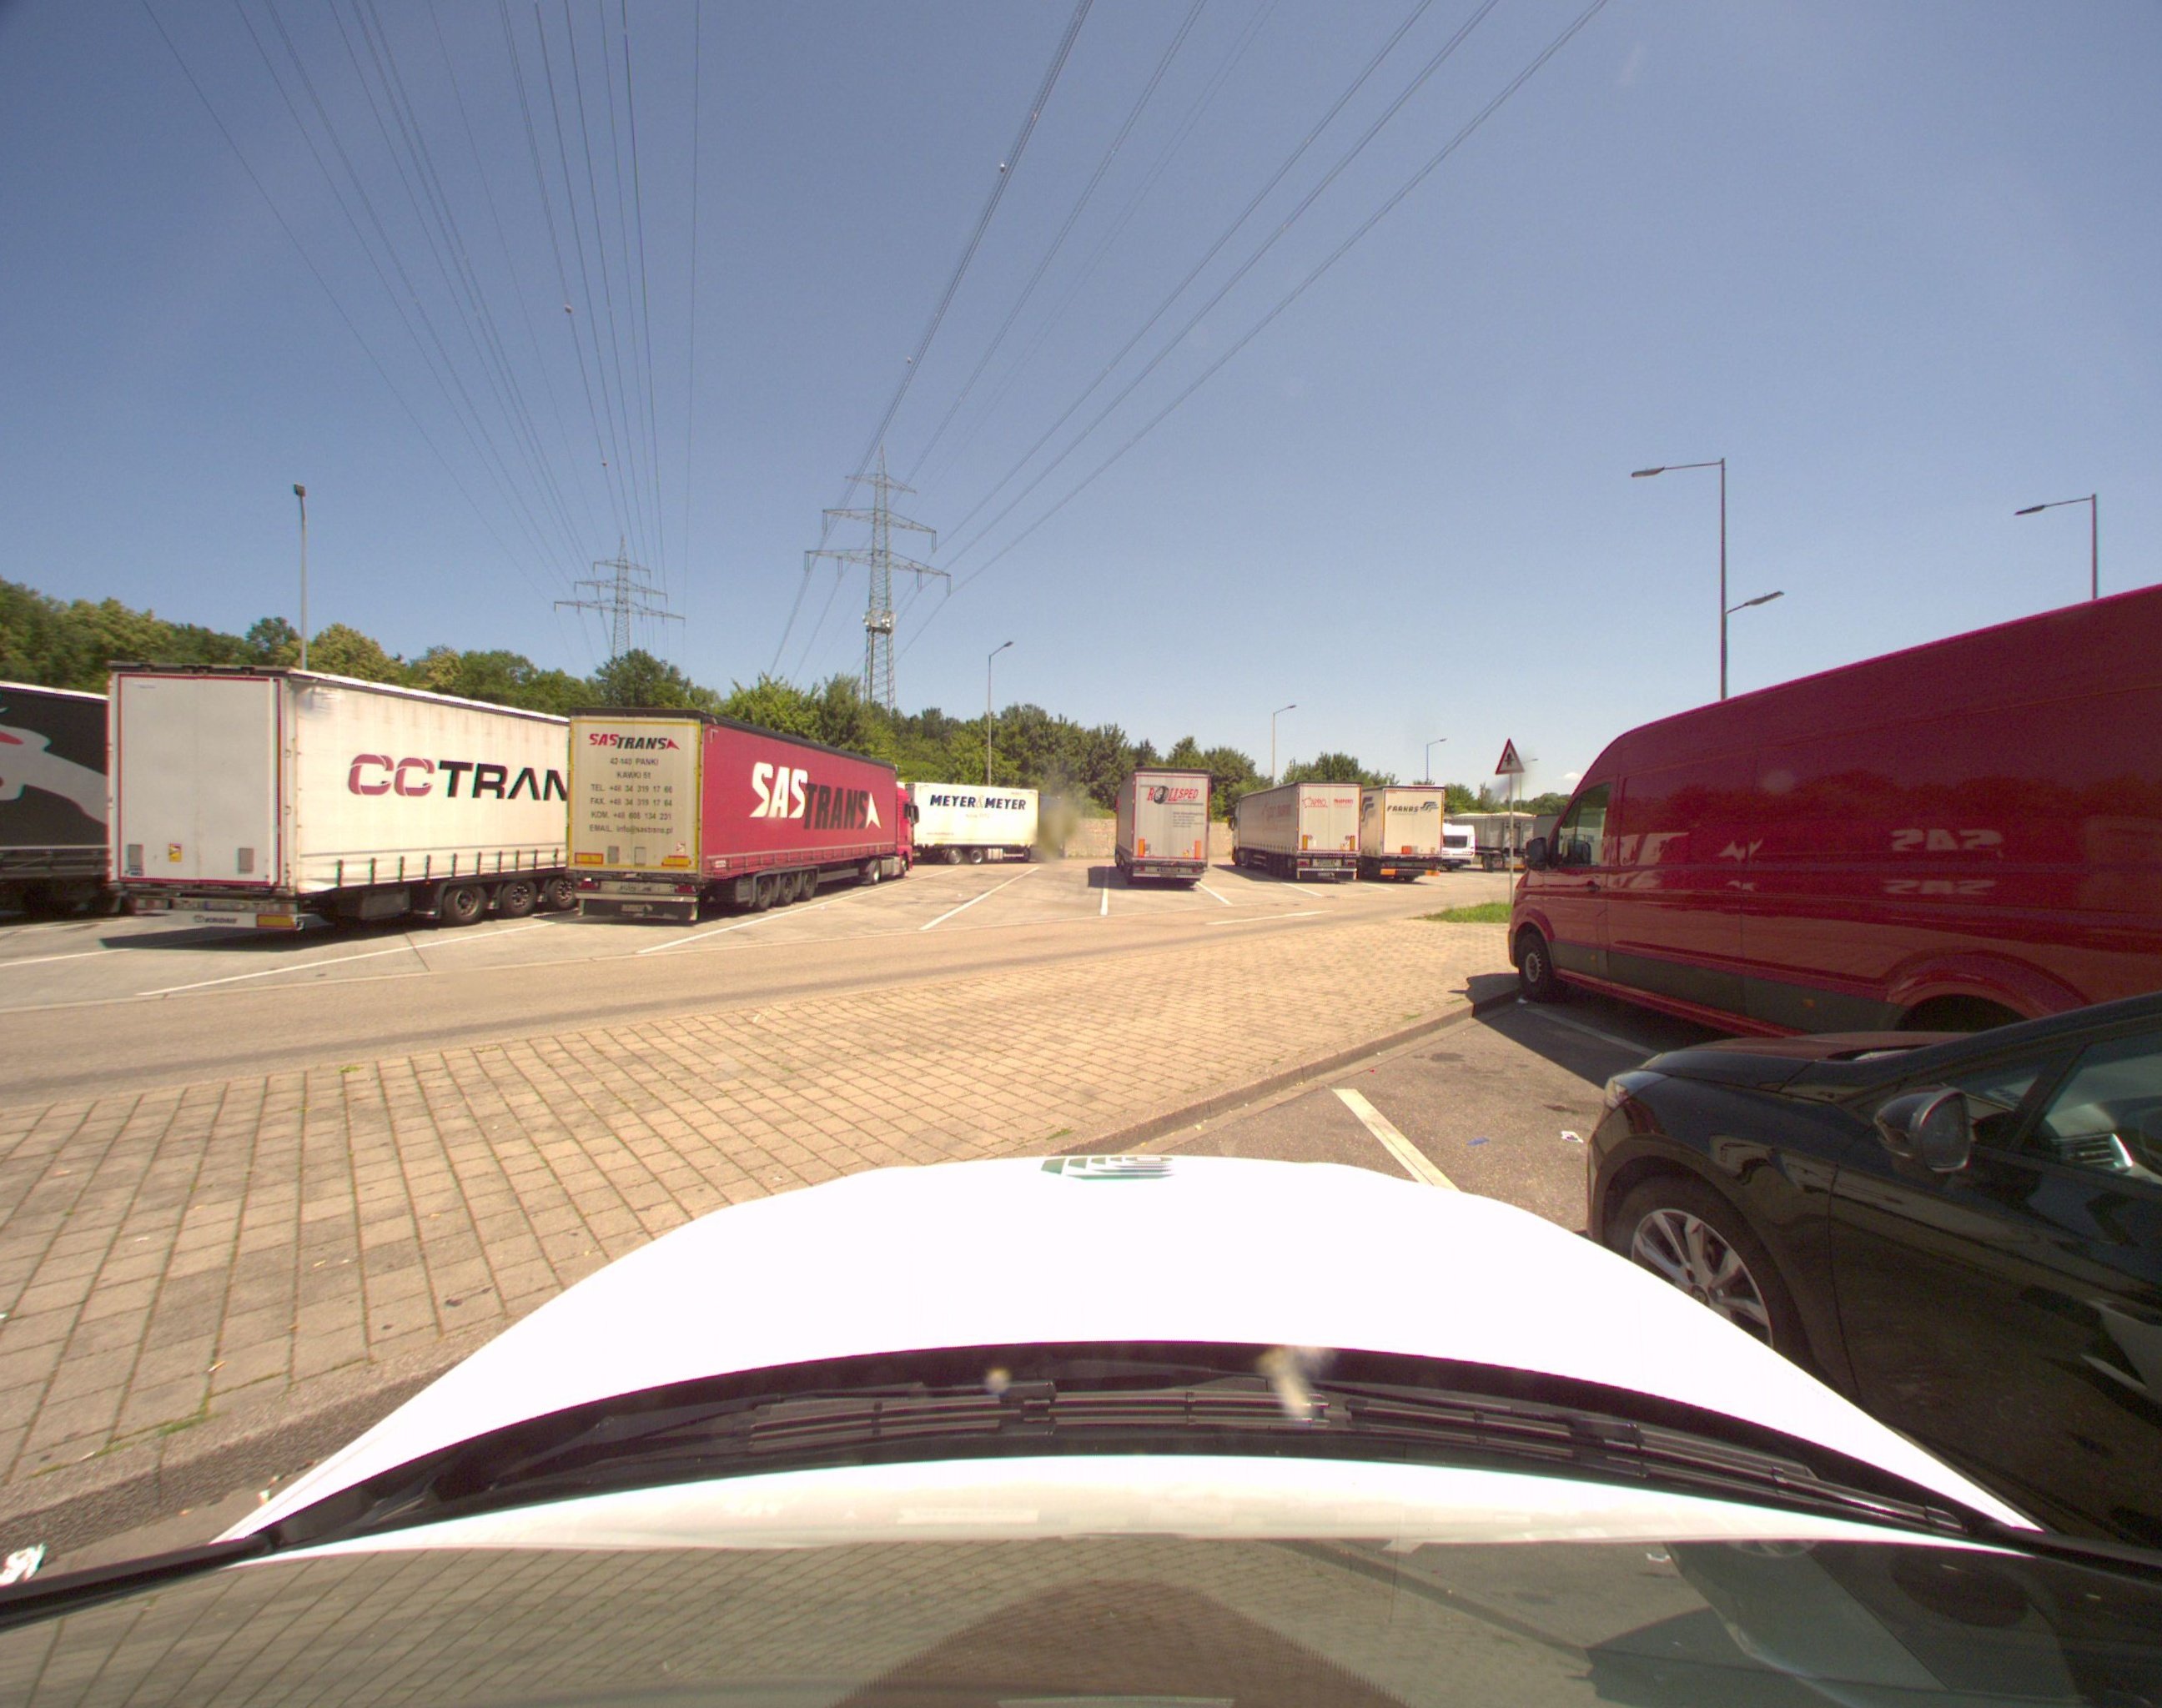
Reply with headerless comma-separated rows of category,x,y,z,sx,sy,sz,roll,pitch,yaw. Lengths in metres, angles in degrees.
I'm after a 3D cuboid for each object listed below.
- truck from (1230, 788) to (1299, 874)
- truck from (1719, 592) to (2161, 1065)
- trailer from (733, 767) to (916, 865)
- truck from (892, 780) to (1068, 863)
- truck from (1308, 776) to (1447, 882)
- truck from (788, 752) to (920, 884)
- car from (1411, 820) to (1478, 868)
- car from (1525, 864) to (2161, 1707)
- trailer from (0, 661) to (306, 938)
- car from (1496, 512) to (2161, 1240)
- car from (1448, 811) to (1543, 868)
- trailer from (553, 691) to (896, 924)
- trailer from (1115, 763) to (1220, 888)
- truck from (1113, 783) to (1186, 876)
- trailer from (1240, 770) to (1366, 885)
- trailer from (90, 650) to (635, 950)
truck,10.070,-1.236,45.180,2.651,4.452,5.866,-1,1,2
truck,7.786,-0.149,6.037,2.508,2.827,4.821,0,-1,3
trailer,-11.587,-1.572,37.489,7.932,4.067,2.236,0,-1,-45
truck,-5.156,-1.573,43.825,10.112,4.033,2.214,0,0,-45
truck,13.525,-0.943,38.559,2.577,4.226,11.974,0,-1,2
truck,-7.758,-1.174,28.720,2.795,4.133,5.896,-1,1,2
car,20.531,-0.523,46.138,2.107,2.599,4.001,0,-1,2
car,2.555,0.754,1.071,1.773,1.457,3.681,0,-1,-4
trailer,-18.562,-0.889,14.910,2.668,4.444,6.151,-1,1,2
car,5.151,0.033,5.496,1.984,2.633,6.393,-1,1,5
car,24.129,-0.827,47.760,2.490,3.074,6.353,-1,1,2
trailer,-8.008,-0.946,21.464,2.789,4.219,13.208,-1,1,2
trailer,3.039,-1.003,32.048,2.888,4.013,11.316,-1,1,0
truck,3.059,-1.086,37.831,2.862,3.980,6.028,0,1,0
trailer,9.897,-1.117,38.195,2.672,4.452,12.833,-1,1,1
trailer,-12.229,-0.807,15.430,2.744,4.152,8.291,0,1,2
